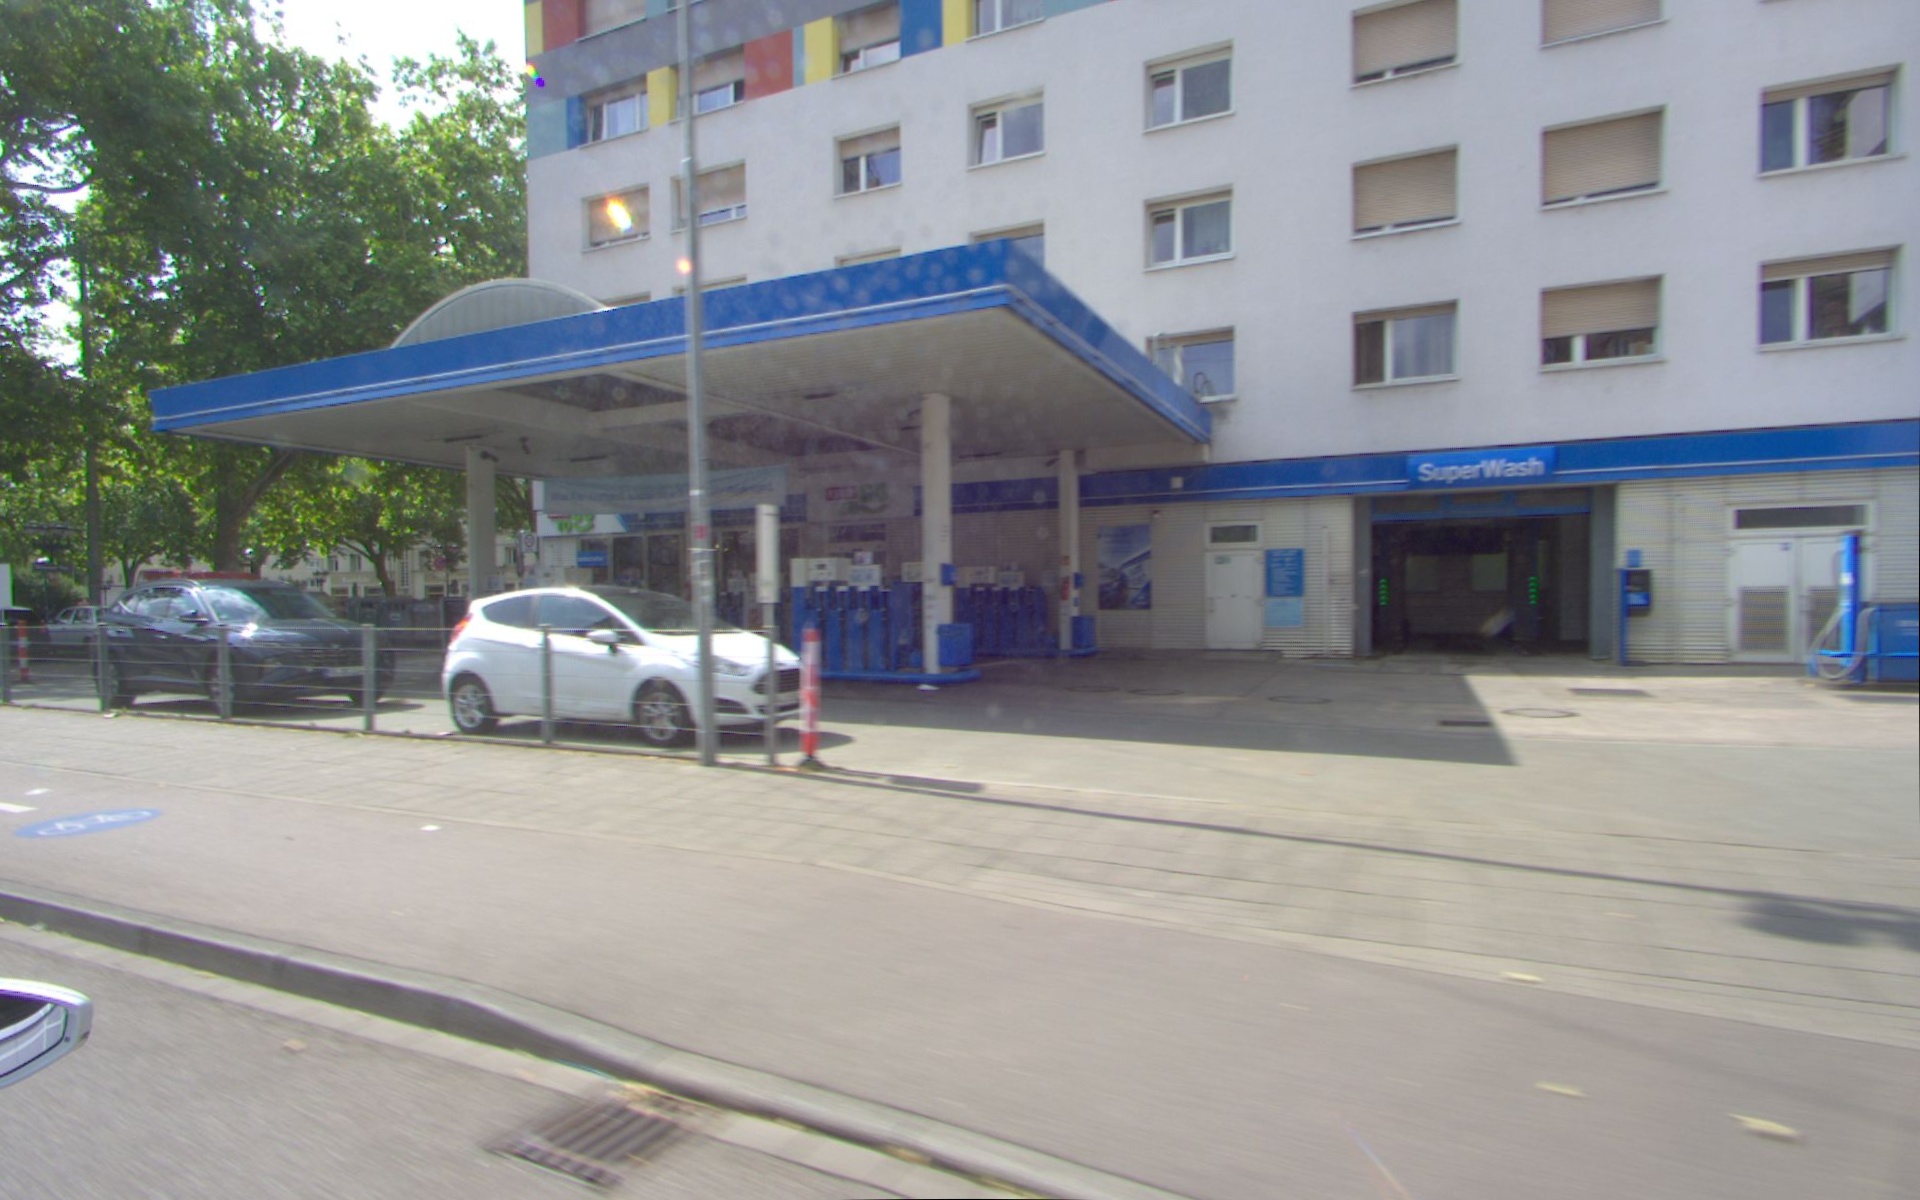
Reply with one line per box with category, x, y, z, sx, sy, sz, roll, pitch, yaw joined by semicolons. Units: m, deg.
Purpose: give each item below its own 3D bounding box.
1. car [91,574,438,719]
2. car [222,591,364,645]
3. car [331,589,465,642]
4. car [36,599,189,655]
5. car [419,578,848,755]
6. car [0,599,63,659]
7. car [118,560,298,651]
car;-9.113;0.532;13.065;4.509;1.623;1.805;0;0;27
car;-22.272;0.580;33.410;4.579;1.672;2.005;0;-1;28
car;-20.039;0.529;35.704;4.579;1.777;2.005;0;-1;28
car;-23.879;0.722;28.213;3.974;1.490;1.649;0;1;22
car;-3.266;0.561;10.005;3.936;1.474;1.806;0;0;25
car;-25.228;0.711;25.839;3.976;1.490;1.648;0;1;25
car;-23.274;0.148;30.940;5.924;2.617;2.110;0;1;28
